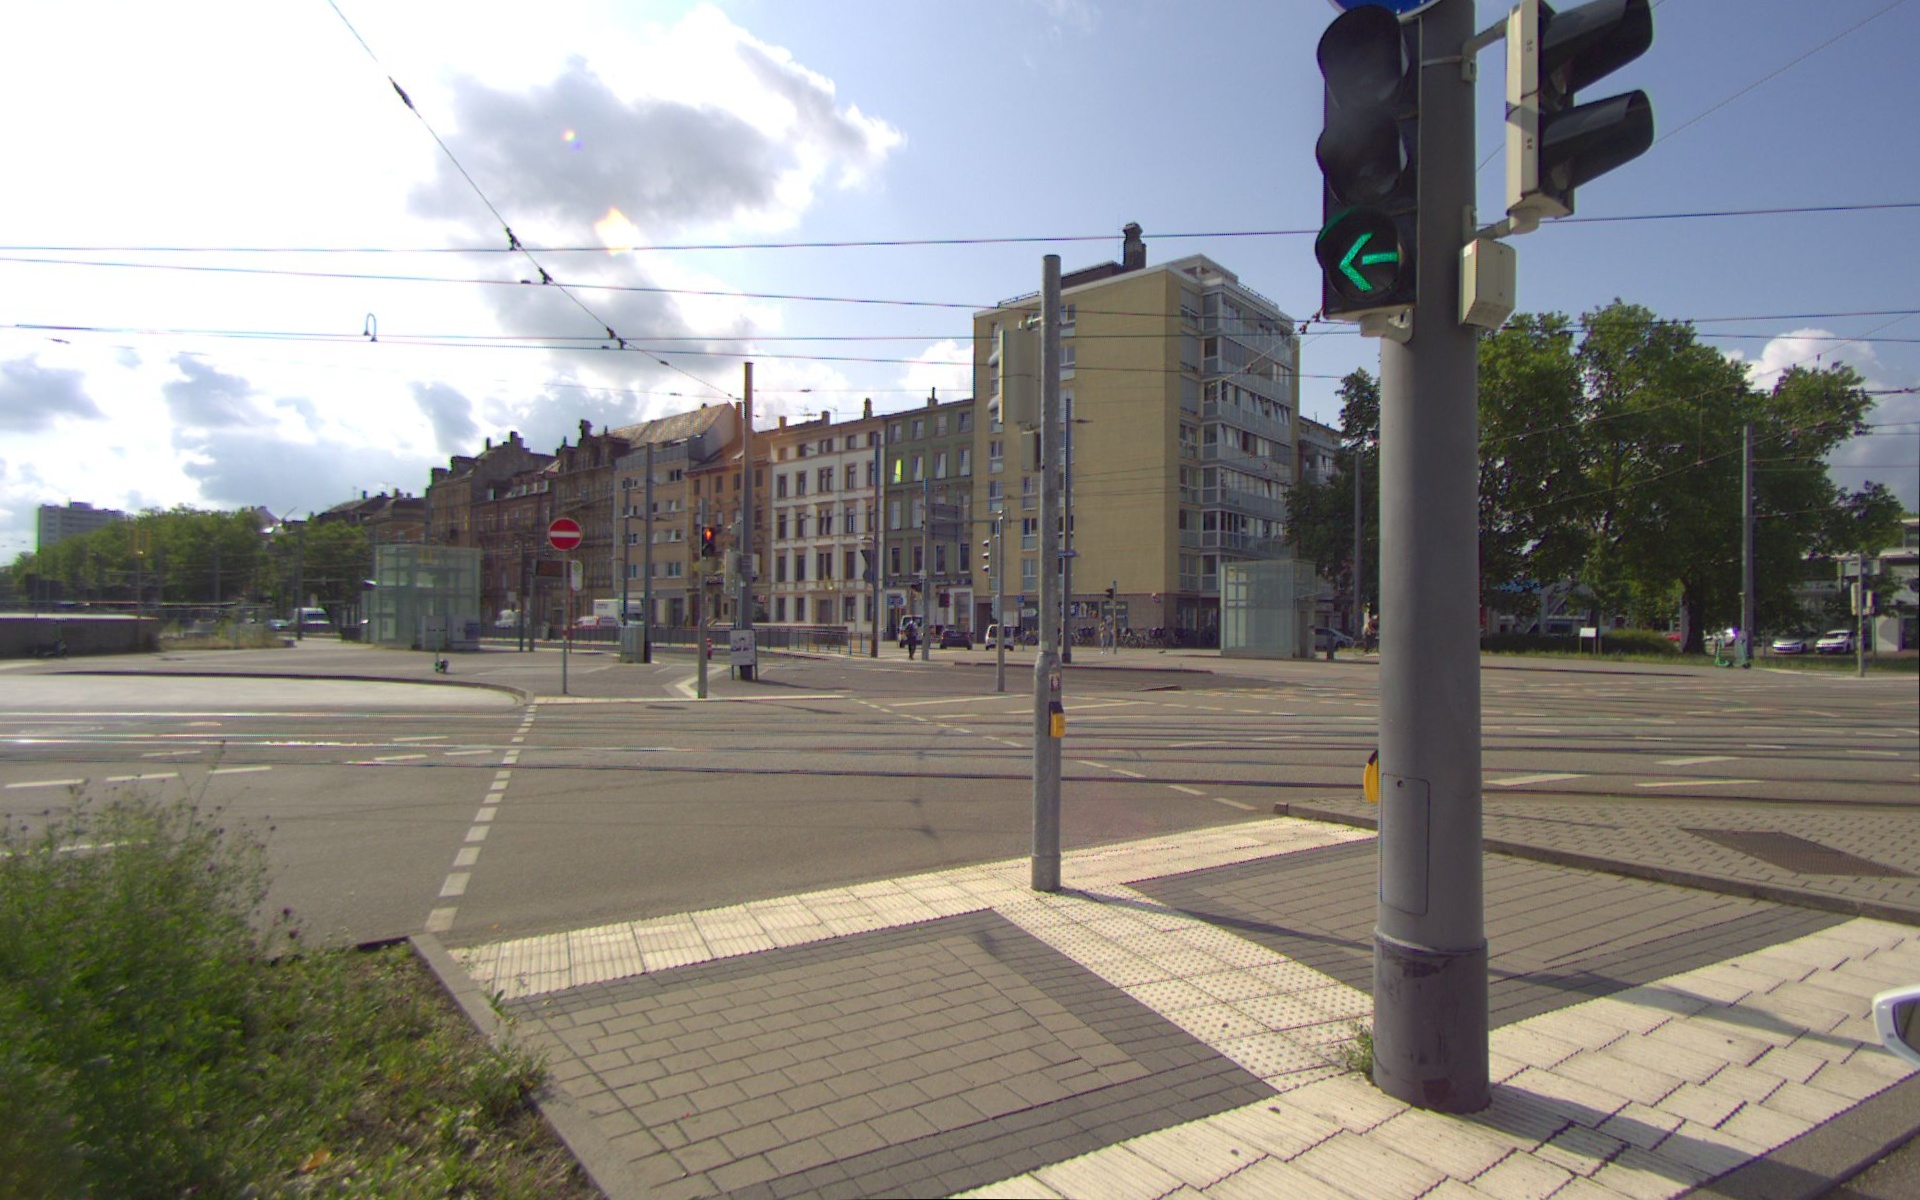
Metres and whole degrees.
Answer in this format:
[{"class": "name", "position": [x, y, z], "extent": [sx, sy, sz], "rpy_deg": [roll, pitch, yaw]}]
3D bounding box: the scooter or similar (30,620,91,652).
[{"class": "scooter or similar", "position": [-28.267, 1.117, 31.599], "extent": [0.464, 0.962, 1.663], "rpy_deg": [1, -1, -3]}]

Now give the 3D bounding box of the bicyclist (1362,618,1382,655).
[{"class": "bicyclist", "position": [19.869, 1.753, 48.438], "extent": [0.813, 1.768, 0.710], "rpy_deg": [1, 0, 30]}]

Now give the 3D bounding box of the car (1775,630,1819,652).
[{"class": "car", "position": [65.157, 3.147, 78.158], "extent": [3.967, 1.595, 1.977], "rpy_deg": [2, -1, -40]}]

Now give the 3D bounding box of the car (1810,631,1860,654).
[{"class": "car", "position": [66.220, 3.195, 76.027], "extent": [3.961, 1.625, 2.053], "rpy_deg": [2, -1, -36]}]

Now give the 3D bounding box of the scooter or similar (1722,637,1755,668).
[{"class": "scooter or similar", "position": [31.514, 2.111, 40.667], "extent": [0.911, 1.173, 0.381], "rpy_deg": [2, 3, 3]}]

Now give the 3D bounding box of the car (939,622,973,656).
[{"class": "car", "position": [-0.231, 2.251, 59.123], "extent": [1.854, 1.488, 5.063], "rpy_deg": [2, 3, 0]}]

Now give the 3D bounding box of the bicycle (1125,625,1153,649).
[{"class": "bicycle", "position": [10.877, 2.240, 61.182], "extent": [0.484, 1.289, 1.624], "rpy_deg": [2, 2, -42]}]

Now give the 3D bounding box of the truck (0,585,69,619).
[{"class": "truck", "position": [-103.333, 0.233, 110.644], "extent": [2.434, 3.697, 7.416], "rpy_deg": [0, -1, 39]}]

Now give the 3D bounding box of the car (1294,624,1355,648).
[{"class": "car", "position": [25.139, 2.475, 69.335], "extent": [3.522, 1.550, 1.990], "rpy_deg": [1, -1, 41]}]

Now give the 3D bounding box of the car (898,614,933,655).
[{"class": "car", "position": [-2.756, 2.102, 62.283], "extent": [2.039, 2.113, 4.896], "rpy_deg": [2, 2, -3]}]

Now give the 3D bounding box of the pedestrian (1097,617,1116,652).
[{"class": "pedestrian", "position": [7.538, 1.749, 51.618], "extent": [0.770, 1.783, 0.995], "rpy_deg": [0, -1, 18]}]

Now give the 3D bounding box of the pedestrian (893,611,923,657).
[{"class": "pedestrian", "position": [-2.056, 1.344, 39.667], "extent": [0.783, 1.696, 0.841], "rpy_deg": [5, 5, 40]}]

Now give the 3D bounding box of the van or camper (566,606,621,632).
[{"class": "van or camper", "position": [-28.872, 1.462, 79.008], "extent": [4.452, 1.940, 2.007], "rpy_deg": [1, -1, 38]}]

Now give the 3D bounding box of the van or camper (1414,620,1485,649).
[{"class": "van or camper", "position": [46.713, 3.269, 96.008], "extent": [2.364, 2.502, 5.850], "rpy_deg": [1, -1, -29]}]

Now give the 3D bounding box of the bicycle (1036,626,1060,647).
[{"class": "bicycle", "position": [5.774, 2.408, 65.792], "extent": [0.484, 1.217, 1.624], "rpy_deg": [2, 2, -42]}]

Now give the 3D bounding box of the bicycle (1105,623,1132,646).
[{"class": "bicycle", "position": [9.763, 2.122, 62.087], "extent": [0.484, 1.289, 1.624], "rpy_deg": [2, 2, -42]}]

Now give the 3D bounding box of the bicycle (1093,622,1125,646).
[{"class": "bicycle", "position": [9.169, 2.108, 61.882], "extent": [1.858, 1.289, 0.486], "rpy_deg": [5, 5, 34]}]

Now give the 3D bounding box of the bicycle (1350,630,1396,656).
[{"class": "bicycle", "position": [19.927, 2.066, 48.426], "extent": [1.957, 1.142, 0.788], "rpy_deg": [1, 0, 31]}]

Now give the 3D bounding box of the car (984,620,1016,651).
[{"class": "car", "position": [2.237, 2.015, 57.372], "extent": [1.686, 1.460, 3.512], "rpy_deg": [3, 2, 1]}]

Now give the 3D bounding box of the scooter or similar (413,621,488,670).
[{"class": "scooter or similar", "position": [-13.395, 1.183, 26.397], "extent": [1.474, 1.205, 1.331], "rpy_deg": [1, -1, 44]}]

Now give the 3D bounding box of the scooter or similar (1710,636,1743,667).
[{"class": "scooter or similar", "position": [31.482, 2.116, 41.259], "extent": [0.911, 1.173, 0.382], "rpy_deg": [3, 4, 15]}]

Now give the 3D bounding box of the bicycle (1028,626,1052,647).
[{"class": "bicycle", "position": [5.209, 2.392, 65.474], "extent": [0.484, 1.217, 1.624], "rpy_deg": [2, 2, -42]}]

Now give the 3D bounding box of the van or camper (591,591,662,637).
[{"class": "van or camper", "position": [-29.265, 1.167, 87.955], "extent": [7.532, 3.376, 2.705], "rpy_deg": [6, 5, 43]}]

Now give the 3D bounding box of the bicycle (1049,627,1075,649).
[{"class": "bicycle", "position": [6.505, 2.404, 64.082], "extent": [0.545, 1.217, 1.624], "rpy_deg": [2, 2, -43]}]

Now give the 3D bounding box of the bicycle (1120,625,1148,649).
[{"class": "bicycle", "position": [10.519, 2.229, 60.781], "extent": [0.528, 1.289, 1.624], "rpy_deg": [2, 2, -42]}]

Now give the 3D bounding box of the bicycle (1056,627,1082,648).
[{"class": "bicycle", "position": [7.003, 2.419, 64.519], "extent": [0.484, 1.217, 1.624], "rpy_deg": [2, 2, -42]}]
